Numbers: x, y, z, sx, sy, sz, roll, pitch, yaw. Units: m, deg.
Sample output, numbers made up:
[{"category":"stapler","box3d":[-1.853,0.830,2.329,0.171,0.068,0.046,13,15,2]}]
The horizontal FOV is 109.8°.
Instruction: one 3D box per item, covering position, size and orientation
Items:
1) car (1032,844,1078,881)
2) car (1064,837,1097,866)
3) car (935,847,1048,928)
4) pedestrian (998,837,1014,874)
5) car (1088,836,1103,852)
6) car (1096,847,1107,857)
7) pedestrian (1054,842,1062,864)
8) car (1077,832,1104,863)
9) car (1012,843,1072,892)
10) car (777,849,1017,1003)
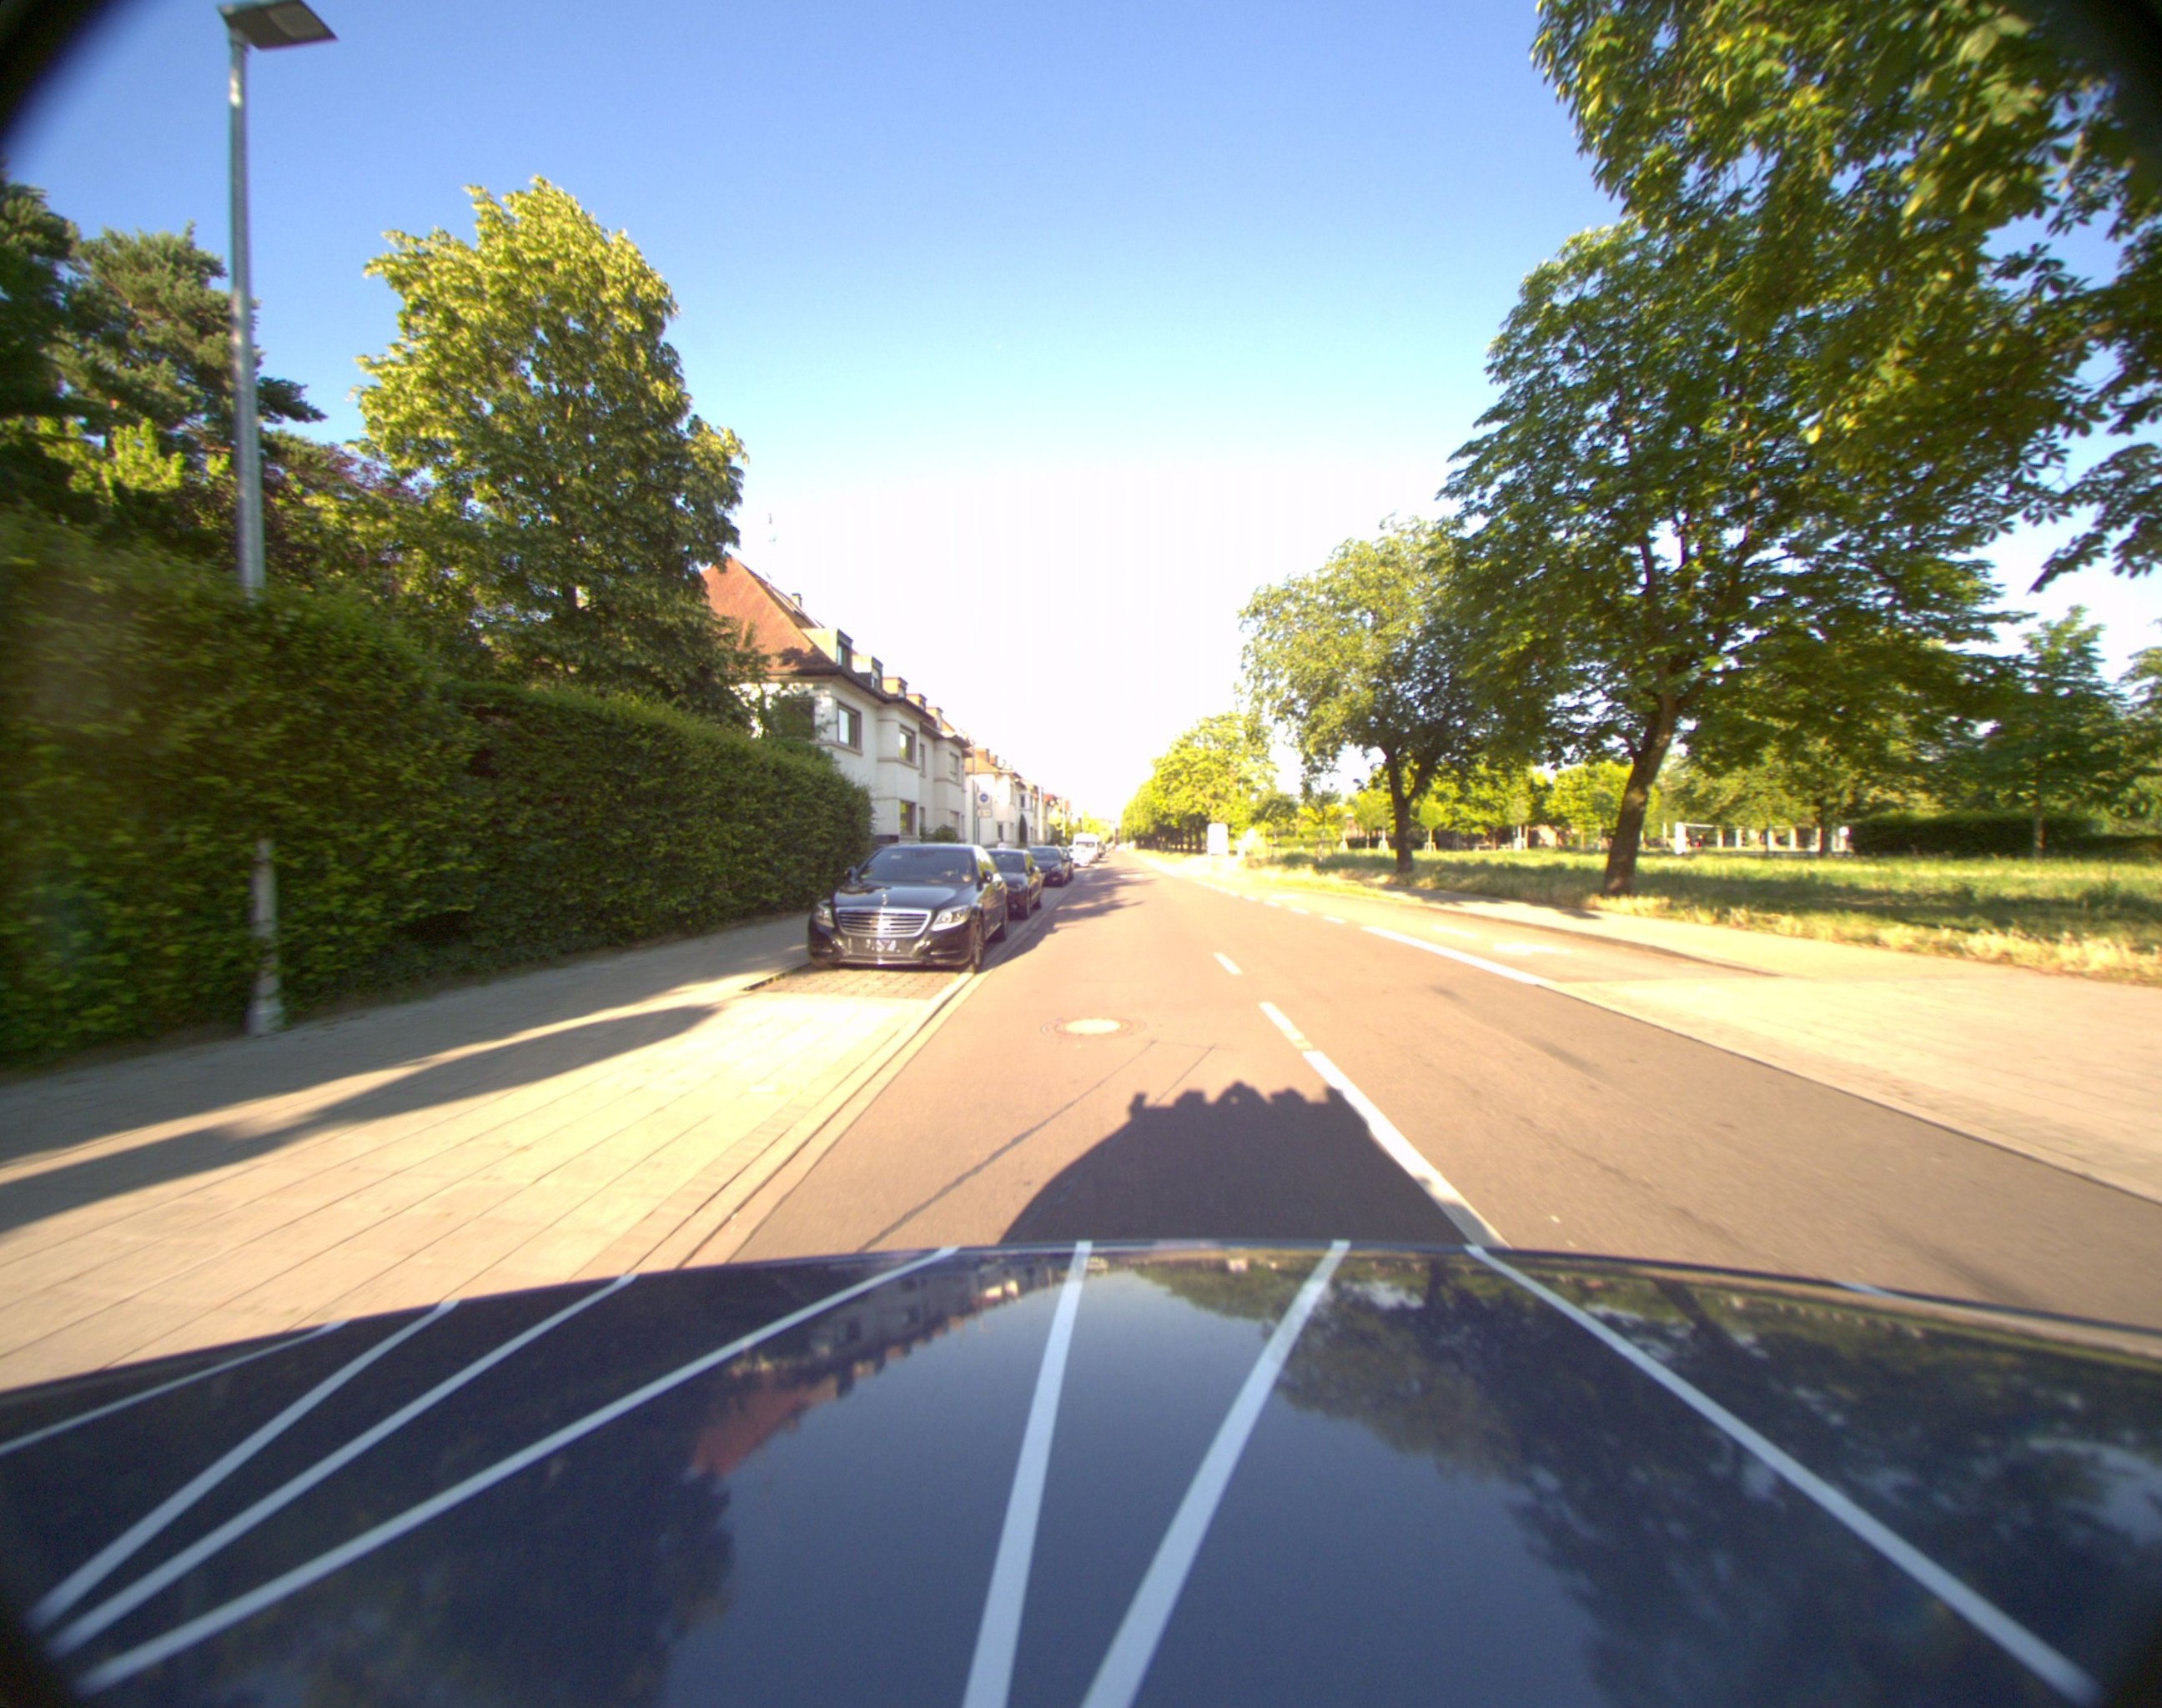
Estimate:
[{"category":"car","box3d":[-1.131,0.334,34.601,1.680,1.525,3.472,-3,0,4]},{"category":"car","box3d":[0.024,-0.205,51.833,1.998,1.775,3.999,-3,2,2]},{"category":"car","box3d":[-1.817,0.633,16.685,1.784,1.469,4.000,-3,1,2]},{"category":"pedestrian","box3d":[-3.896,0.060,39.415,0.587,1.836,0.824,-3,2,4]},{"category":"car","box3d":[1.813,-1.315,94.684,1.707,1.848,3.712,-3,2,3]},{"category":"car","box3d":[3.357,-0.338,123.094,1.682,1.543,3.842,1,1,1]},{"category":"pedestrian","box3d":[-1.907,-0.103,62.505,0.531,1.788,0.589,-3,2,1]},{"category":"car","box3d":[0.869,-0.617,64.796,2.131,2.462,5.723,-3,2,2]},{"category":"car","box3d":[-1.362,0.443,28.078,1.795,1.587,4.077,-3,0,2]},{"category":"car","box3d":[-2.089,0.716,10.210,2.009,1.490,4.914,1,1,0]}]
